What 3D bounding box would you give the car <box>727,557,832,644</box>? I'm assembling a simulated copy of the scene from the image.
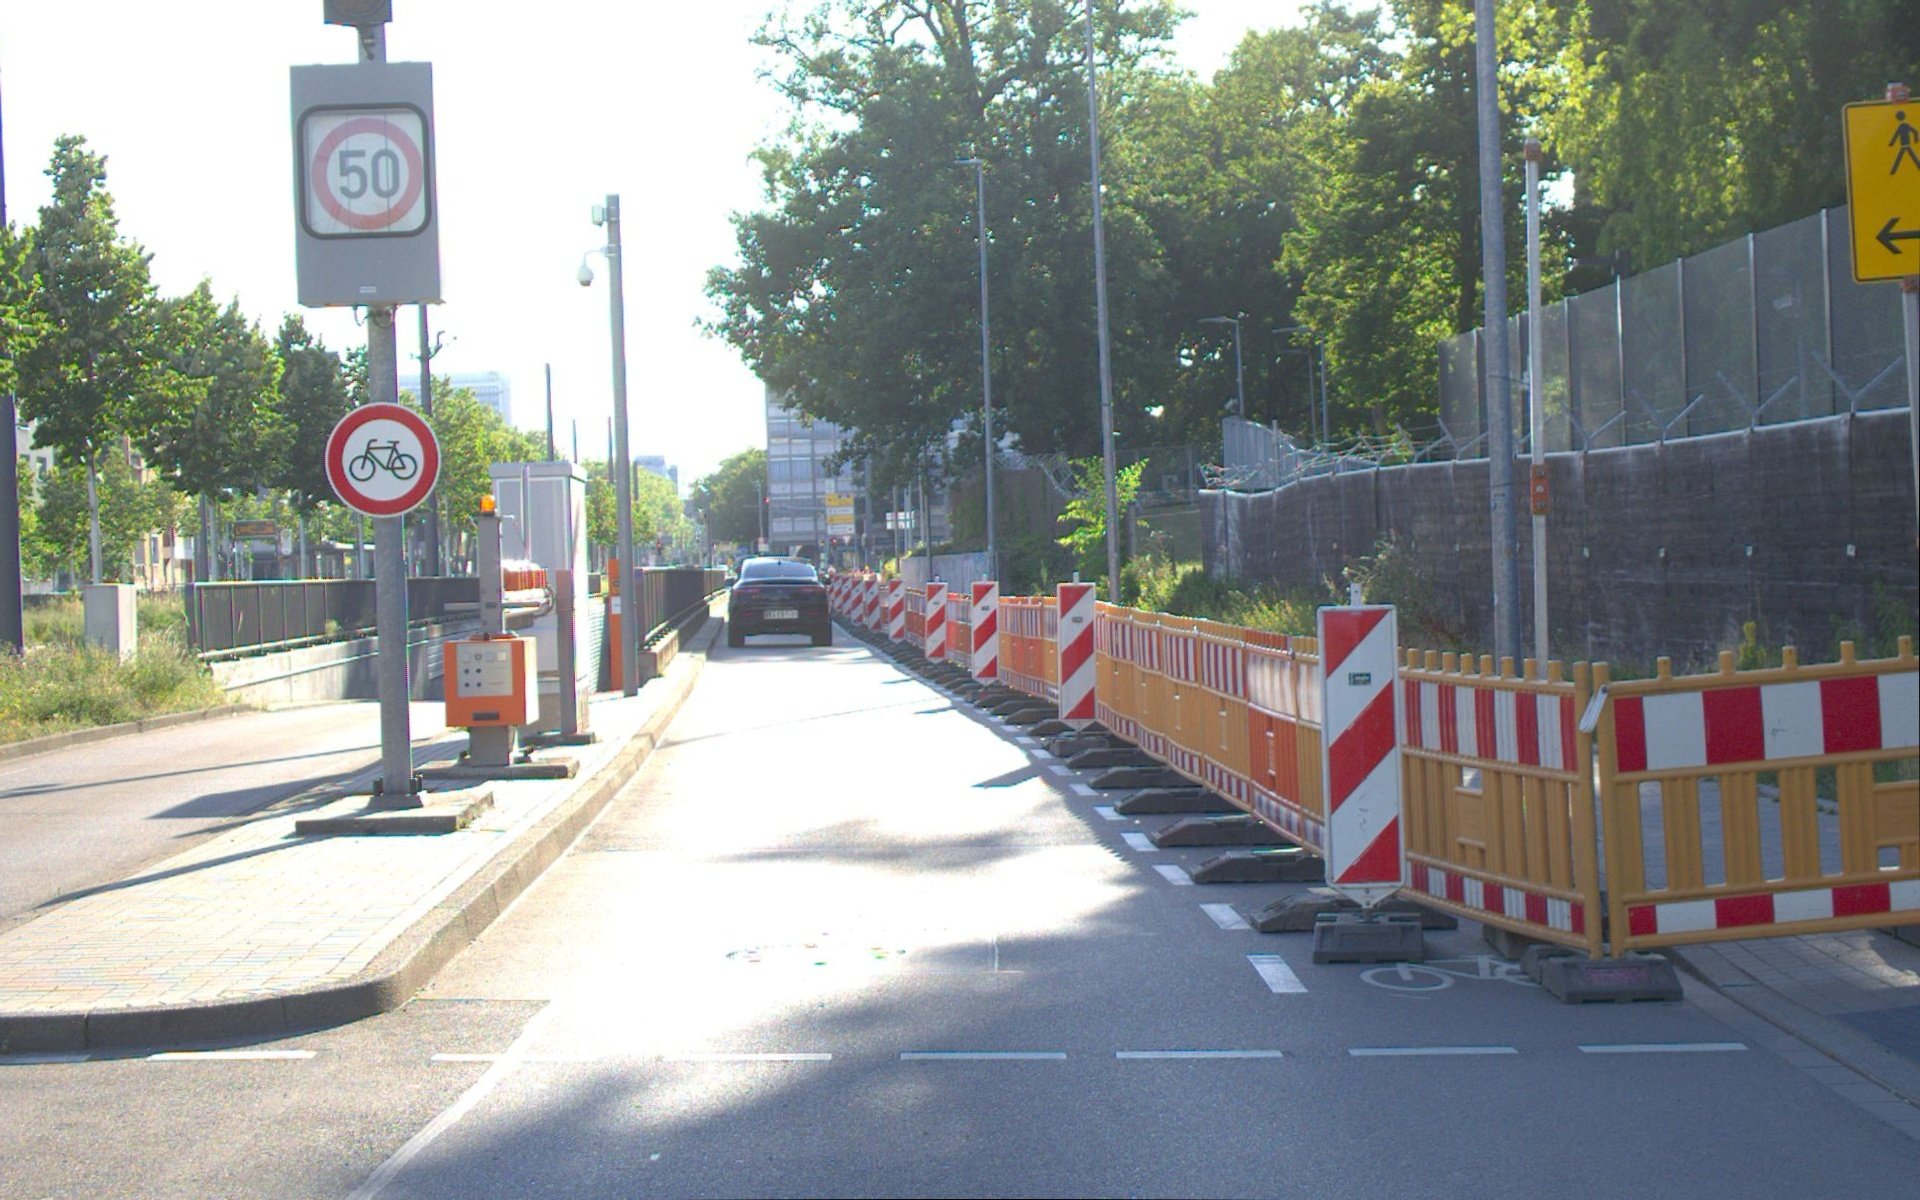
[{"bbox_3d":[-3.530,0.000,67.494,2.005,1.653,4.000,0,0,-2],"label":"car"}]
